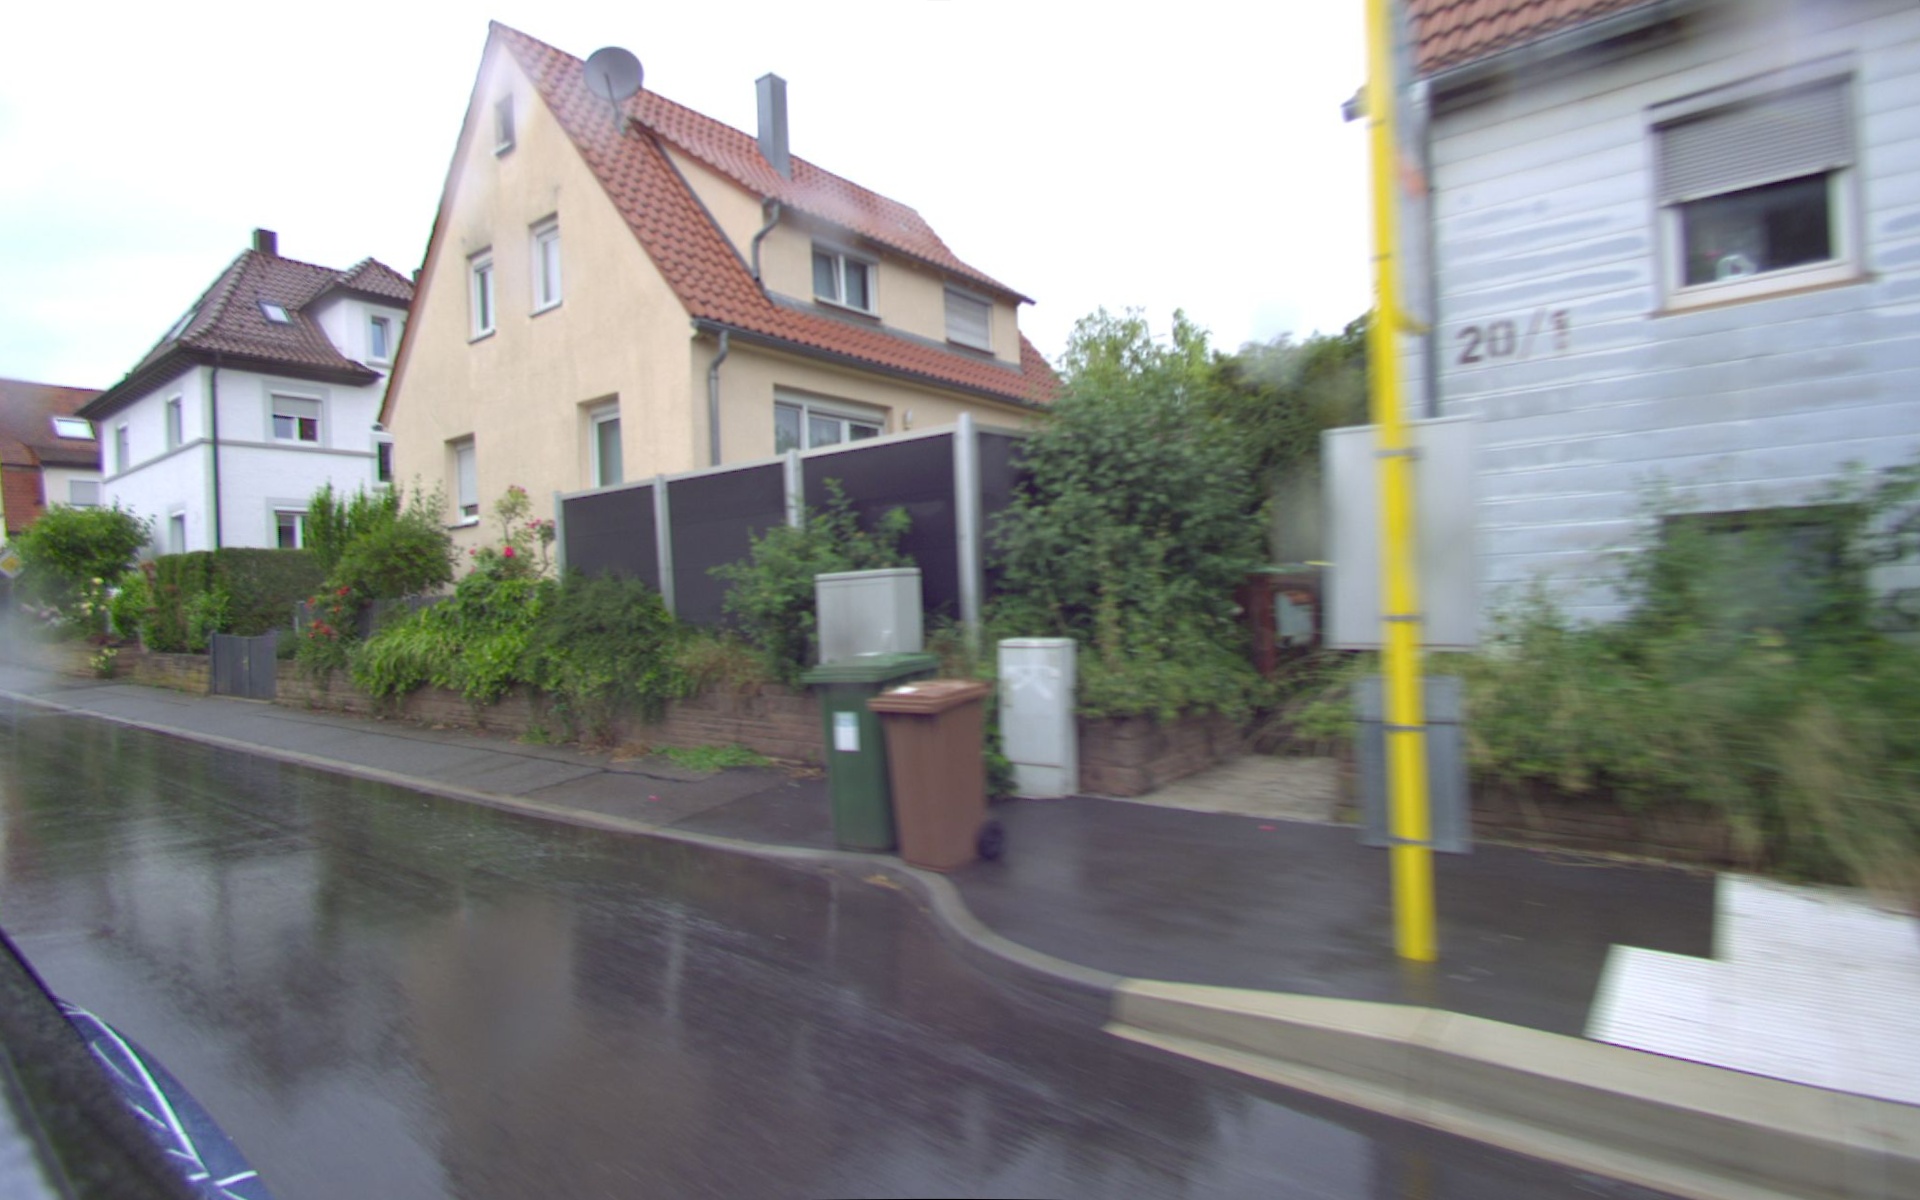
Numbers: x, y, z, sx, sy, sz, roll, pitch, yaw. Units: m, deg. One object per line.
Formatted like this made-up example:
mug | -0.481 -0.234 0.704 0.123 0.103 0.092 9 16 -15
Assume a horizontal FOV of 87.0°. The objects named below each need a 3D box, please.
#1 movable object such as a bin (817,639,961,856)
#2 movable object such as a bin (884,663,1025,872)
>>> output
movable object such as a bin | -0.394 0.792 5.699 0.527 1.090 0.547 -1 3 40
movable object such as a bin | -0.025 0.824 5.150 0.454 0.946 0.464 -4 1 40
